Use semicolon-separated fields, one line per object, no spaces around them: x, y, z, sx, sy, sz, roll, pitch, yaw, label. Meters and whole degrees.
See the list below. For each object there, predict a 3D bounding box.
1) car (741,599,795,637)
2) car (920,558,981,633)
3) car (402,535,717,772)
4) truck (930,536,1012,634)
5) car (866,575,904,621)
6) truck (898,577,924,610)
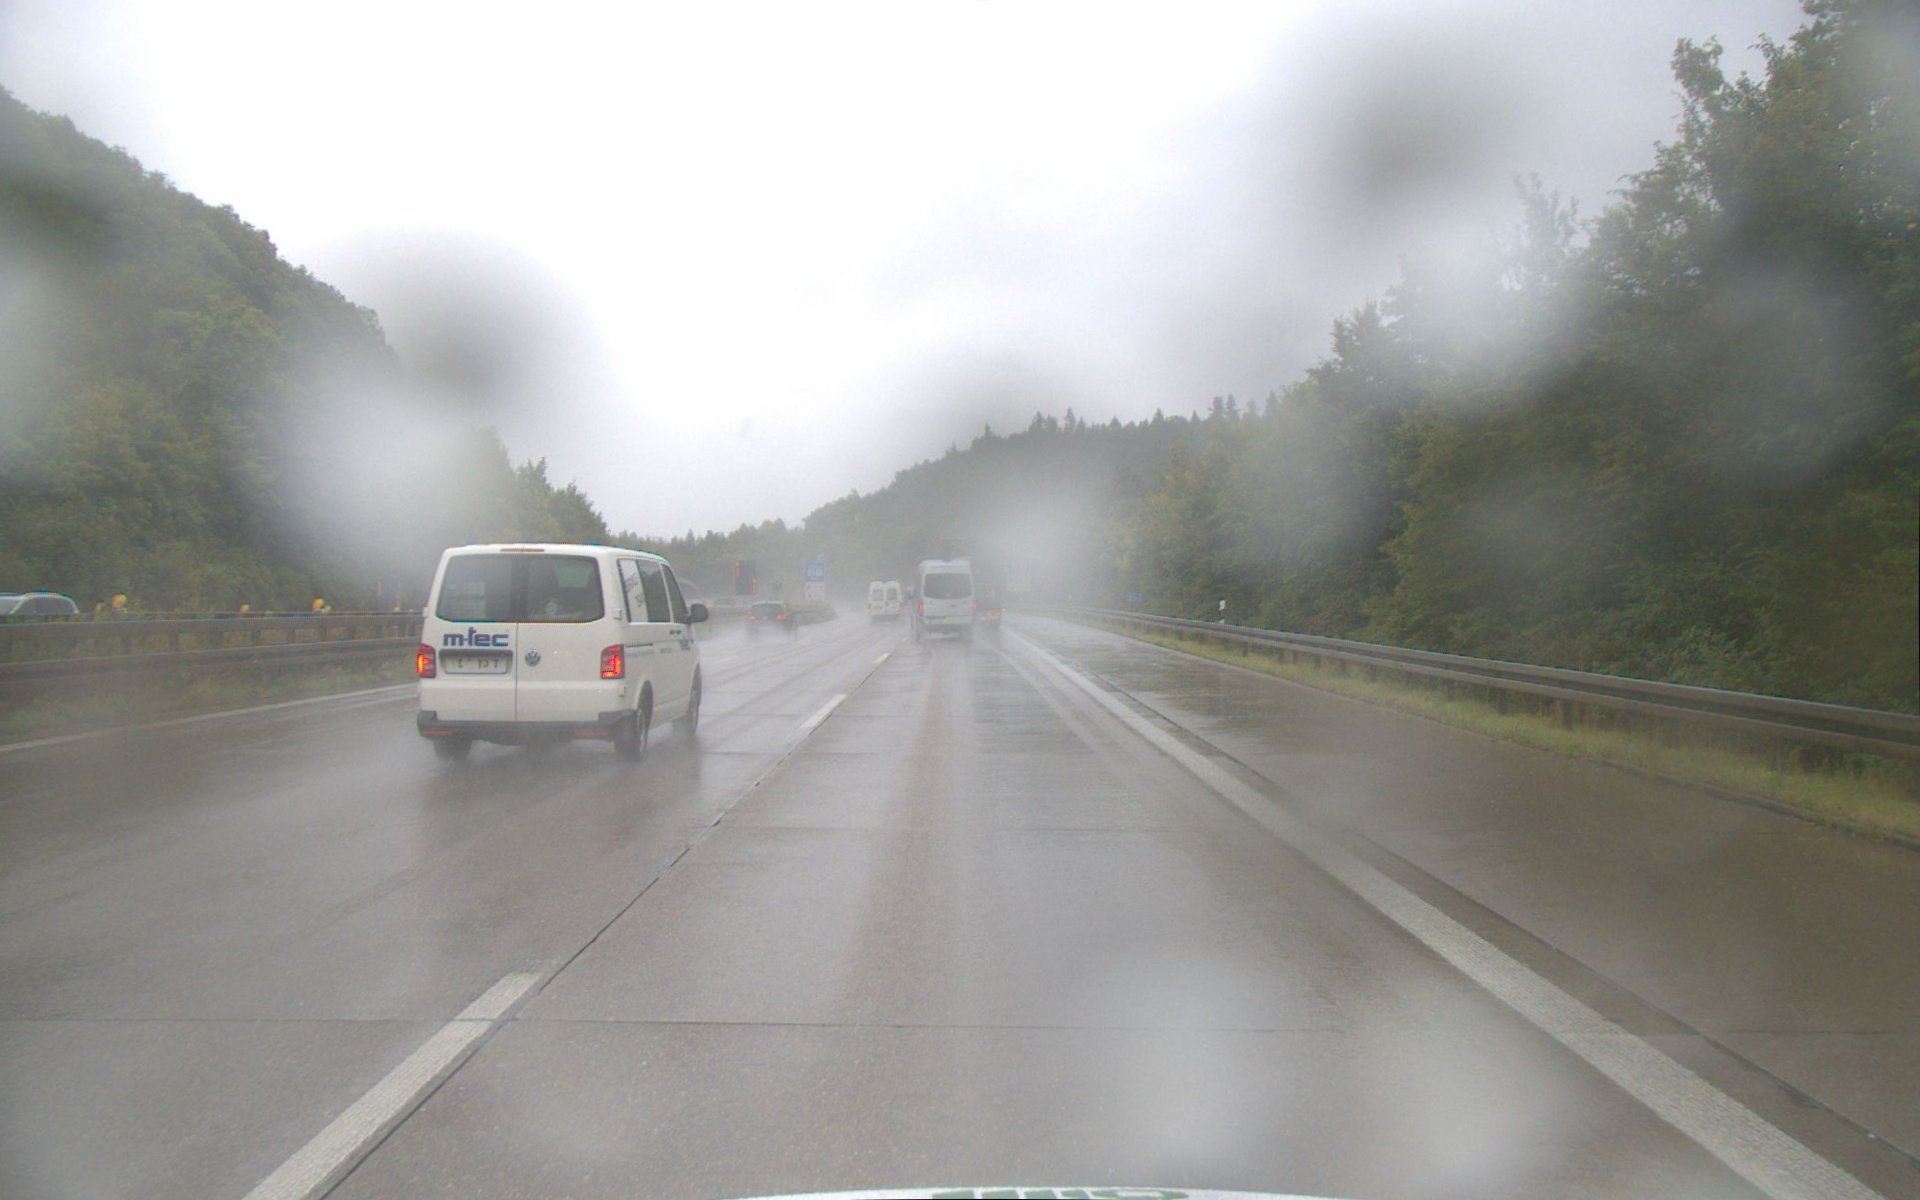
-7.282;0.671;63.023;1.706;1.412;4.319;0;0;-2;car
-0.372;-0.143;56.423;1.861;2.374;5.248;2;0;-2;car
-3.631;0.436;15.992;1.861;1.927;5.042;0;0;-1;car
0.386;-0.790;74.939;3.316;4.036;8.666;-3;2;-1;truck
-4.272;-0.098;95.064;1.957;2.474;5.788;2;0;-2;car
-5.045;-0.660;168.059;1.956;3.225;6.722;-1;0;-7;truck
